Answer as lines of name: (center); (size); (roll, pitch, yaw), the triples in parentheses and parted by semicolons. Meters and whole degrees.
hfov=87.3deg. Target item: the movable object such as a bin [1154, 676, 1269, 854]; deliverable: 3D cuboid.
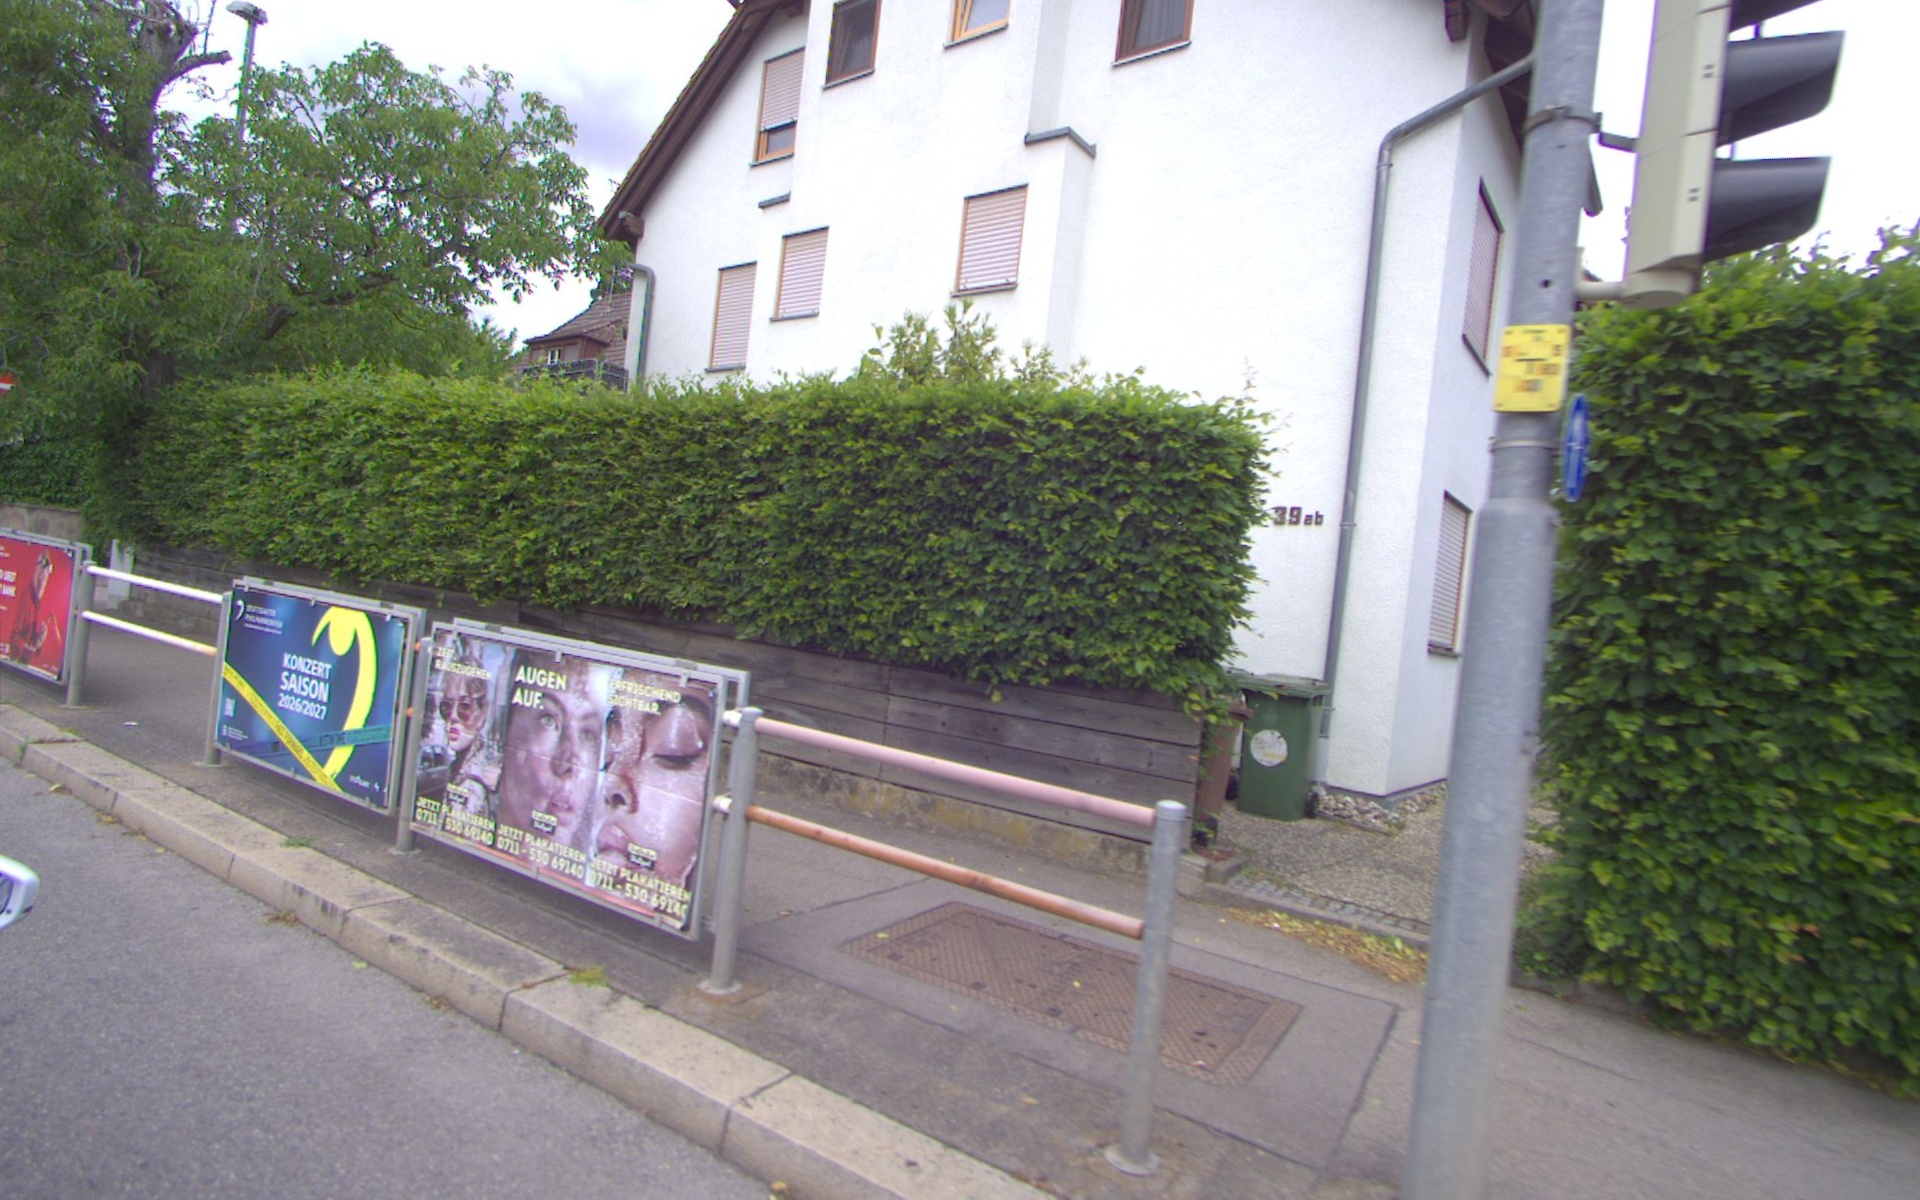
movable object such as a bin: (1.550, 0.985, 6.185); (0.466, 0.982, 0.474); (7, 1, 31)

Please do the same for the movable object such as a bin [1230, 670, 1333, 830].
movable object such as a bin: (2.464, 1.118, 7.694); (0.529, 1.077, 0.564); (7, 4, 31)
